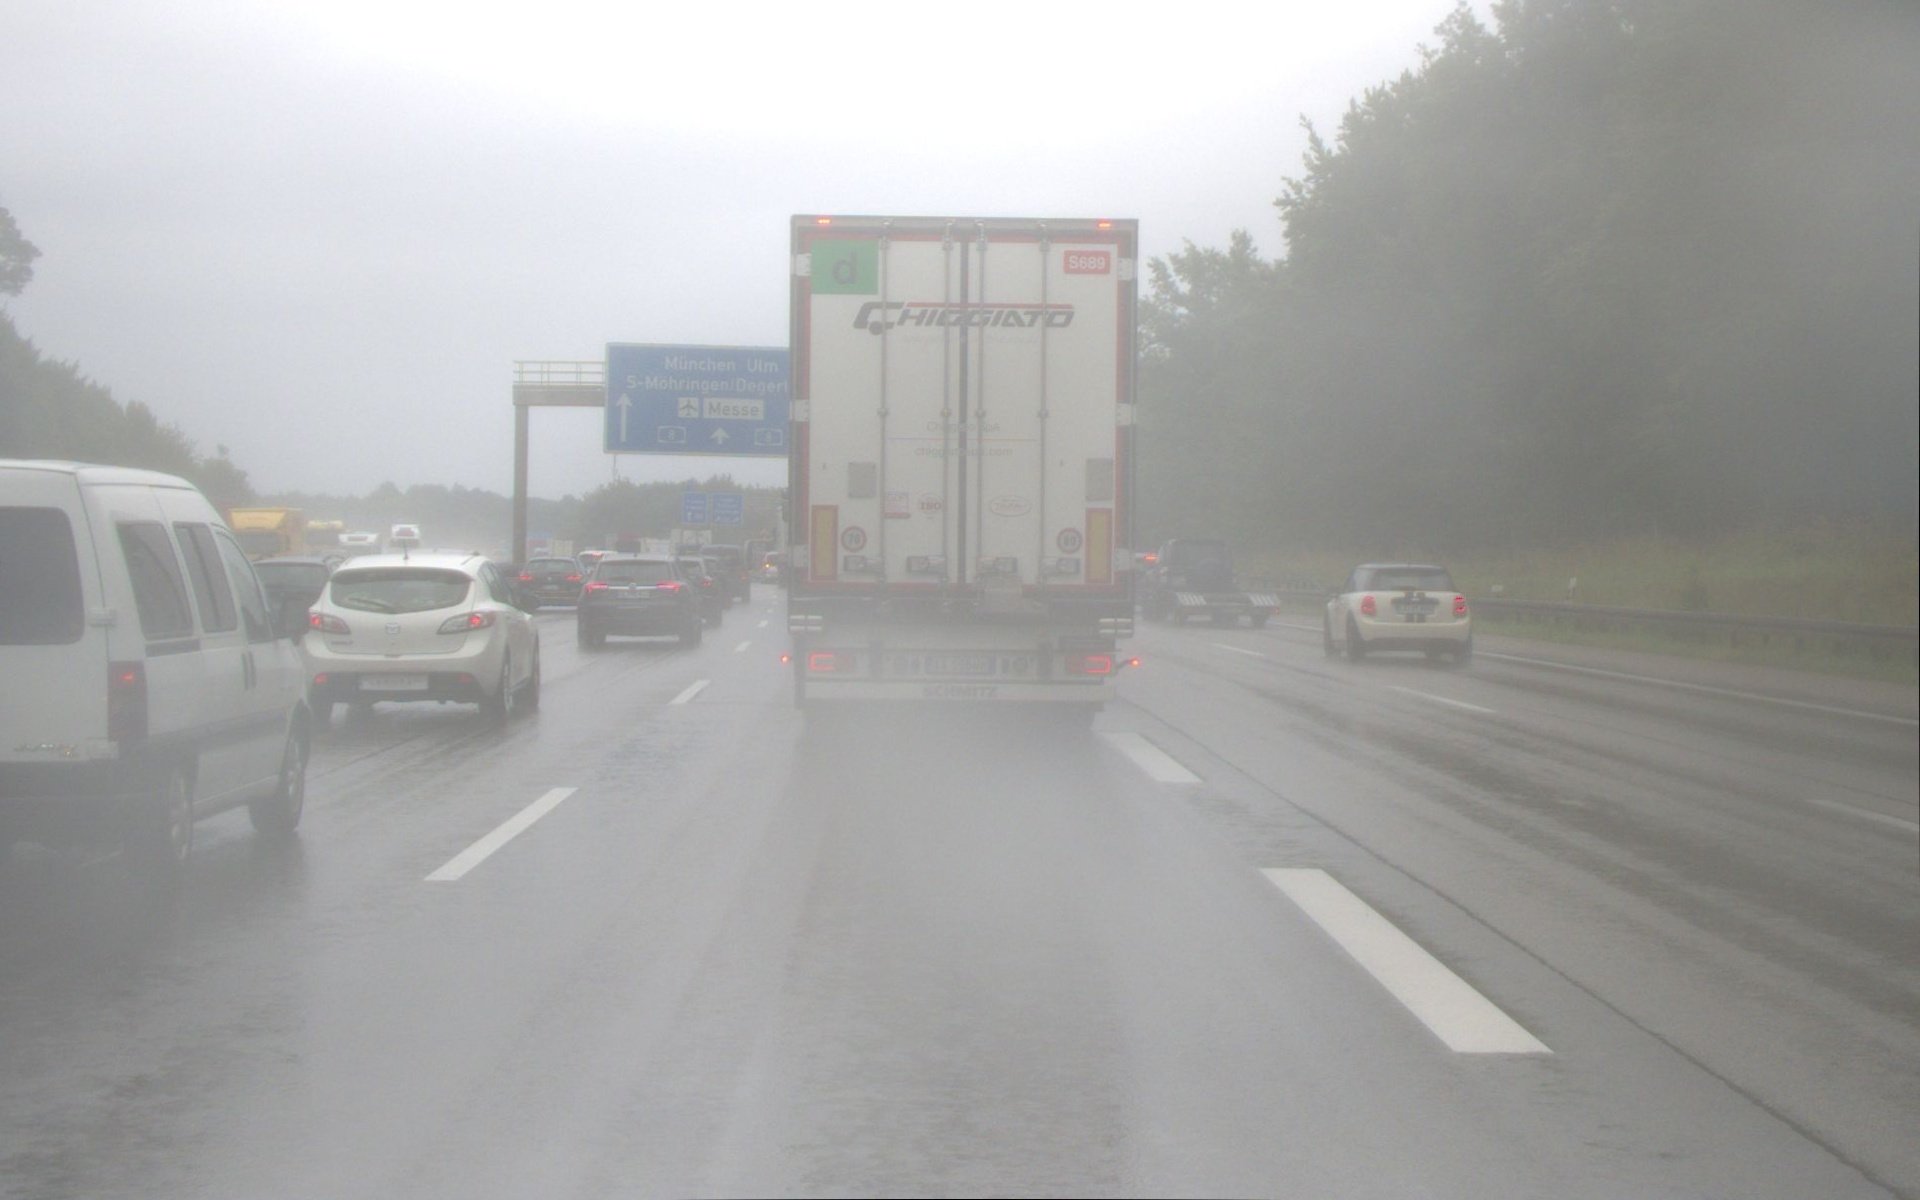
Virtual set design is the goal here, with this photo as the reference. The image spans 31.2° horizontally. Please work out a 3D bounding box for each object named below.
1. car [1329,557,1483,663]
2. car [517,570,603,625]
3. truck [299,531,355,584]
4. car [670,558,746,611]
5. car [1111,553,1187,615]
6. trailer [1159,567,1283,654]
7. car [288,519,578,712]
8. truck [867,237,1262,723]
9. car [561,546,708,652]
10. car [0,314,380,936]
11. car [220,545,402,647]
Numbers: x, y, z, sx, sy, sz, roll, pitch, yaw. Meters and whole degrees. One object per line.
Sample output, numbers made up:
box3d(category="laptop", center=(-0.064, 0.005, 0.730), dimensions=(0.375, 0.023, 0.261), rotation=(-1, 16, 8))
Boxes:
box3d(category="car", center=(6.349, 0.106, 49.320), dimensions=(1.790, 1.402, 4.228), rotation=(1, 1, 2))
box3d(category="car", center=(-10.382, -0.077, 89.480), dimensions=(1.845, 1.326, 4.467), rotation=(1, 1, -2))
box3d(category="truck", center=(-43.088, -2.943, 234.273), dimensions=(2.519, 3.471, 11.722), rotation=(1, 1, -4))
box3d(category="car", center=(-6.687, -0.431, 91.583), dimensions=(1.845, 1.326, 4.467), rotation=(1, 1, -2))
box3d(category="car", center=(5.104, -0.464, 93.080), dimensions=(1.990, 1.578, 4.767), rotation=(1, 1, 3))
box3d(category="trailer", center=(5.522, 0.194, 73.252), dimensions=(2.243, 1.709, 5.082), rotation=(1, 1, 0))
box3d(category="car", center=(-4.621, 0.087, 30.698), dimensions=(1.845, 1.586, 4.072), rotation=(1, 1, 2))
box3d(category="truck", center=(0.835, -0.947, 31.019), dimensions=(2.872, 3.550, 11.302), rotation=(1, 1, 1))
box3d(category="car", center=(-5.155, -0.050, 54.963), dimensions=(1.845, 1.586, 4.467), rotation=(1, 1, 1))
box3d(category="car", center=(-4.383, 0.041, 16.732), dimensions=(2.213, 2.564, 5.016), rotation=(1, 1, 1))
box3d(category="car", center=(-9.121, -0.090, 48.632), dimensions=(1.845, 1.326, 4.467), rotation=(1, 1, -2))
